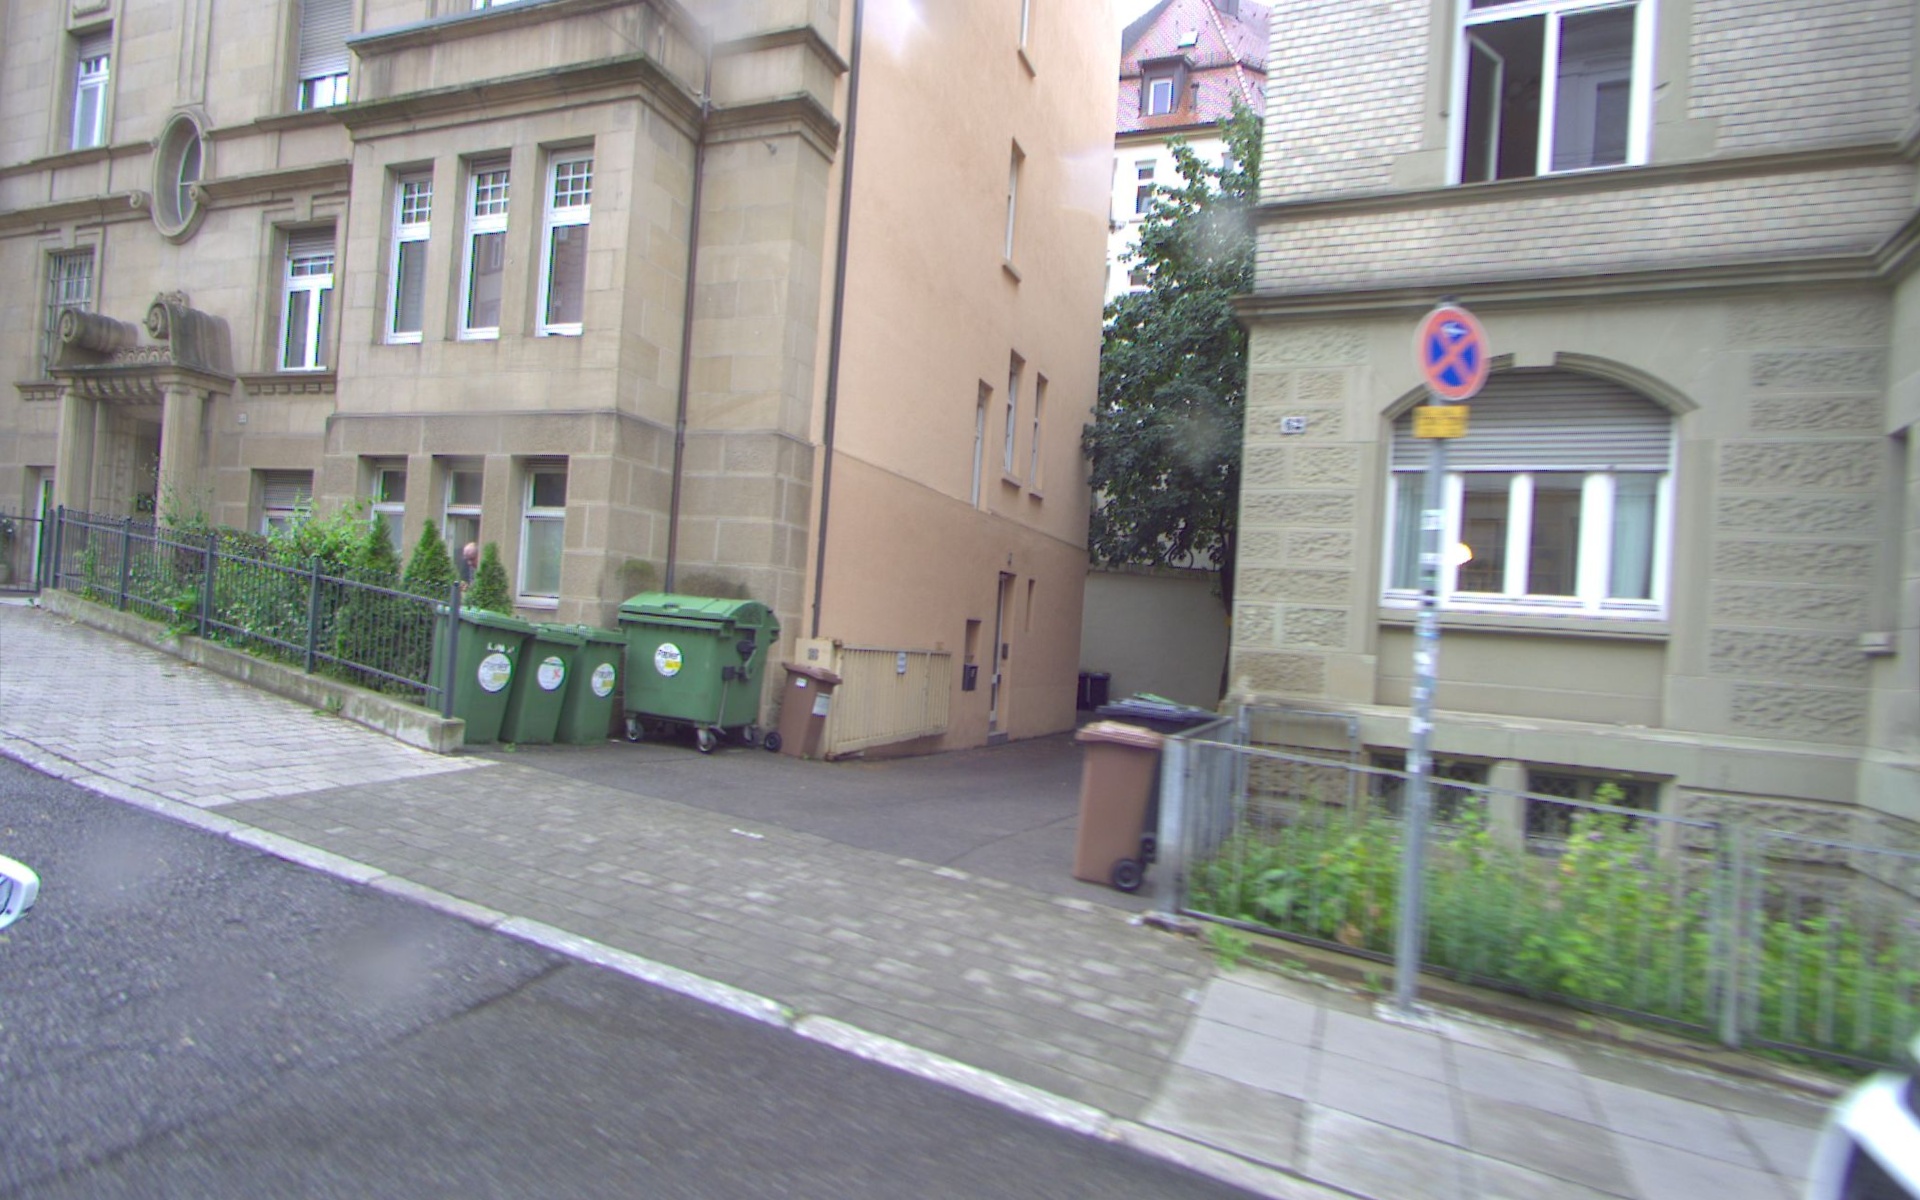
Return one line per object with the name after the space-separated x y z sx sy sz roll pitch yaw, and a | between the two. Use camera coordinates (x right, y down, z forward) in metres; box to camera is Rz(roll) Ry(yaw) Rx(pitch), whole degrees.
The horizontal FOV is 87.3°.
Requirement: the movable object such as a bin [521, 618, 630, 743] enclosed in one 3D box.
-3.498 0.740 9.186 0.593 1.037 0.540 6 -4 21 | movable object such as a bin

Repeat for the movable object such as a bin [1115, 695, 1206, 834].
1.717 1.390 8.597 0.545 1.073 0.498 6 -3 24 | movable object such as a bin

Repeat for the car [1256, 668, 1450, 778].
9.375 2.848 24.053 3.931 1.530 1.796 13 5 28 | car

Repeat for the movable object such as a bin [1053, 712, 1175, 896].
0.915 1.181 5.949 0.527 0.932 0.427 8 2 21 | movable object such as a bin

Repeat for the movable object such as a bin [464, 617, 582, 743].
-3.717 0.687 8.580 0.593 0.978 0.540 6 -4 21 | movable object such as a bin

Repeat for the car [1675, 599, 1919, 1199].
3.582 1.129 0.917 4.381 1.785 1.804 7 -2 23 | car

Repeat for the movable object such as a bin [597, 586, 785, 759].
-2.582 0.706 9.742 1.256 1.447 0.976 6 -4 21 | movable object such as a bin

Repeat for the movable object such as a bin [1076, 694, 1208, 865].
1.282 1.235 7.046 0.653 1.041 0.529 6 -3 30 | movable object such as a bin

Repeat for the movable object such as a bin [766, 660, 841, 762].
-1.589 1.127 10.223 0.510 0.952 0.395 6 -4 21 | movable object such as a bin

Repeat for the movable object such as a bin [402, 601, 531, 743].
-3.931 0.581 8.042 0.593 1.037 0.540 6 -4 21 | movable object such as a bin

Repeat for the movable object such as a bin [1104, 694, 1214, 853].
1.515 1.294 7.628 0.598 1.073 0.501 6 -3 24 | movable object such as a bin

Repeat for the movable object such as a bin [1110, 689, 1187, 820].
1.754 1.422 9.330 0.469 1.114 0.520 6 -3 24 | movable object such as a bin

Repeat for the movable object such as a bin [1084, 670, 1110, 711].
3.834 2.537 28.167 0.532 1.053 0.563 4 4 21 | movable object such as a bin
